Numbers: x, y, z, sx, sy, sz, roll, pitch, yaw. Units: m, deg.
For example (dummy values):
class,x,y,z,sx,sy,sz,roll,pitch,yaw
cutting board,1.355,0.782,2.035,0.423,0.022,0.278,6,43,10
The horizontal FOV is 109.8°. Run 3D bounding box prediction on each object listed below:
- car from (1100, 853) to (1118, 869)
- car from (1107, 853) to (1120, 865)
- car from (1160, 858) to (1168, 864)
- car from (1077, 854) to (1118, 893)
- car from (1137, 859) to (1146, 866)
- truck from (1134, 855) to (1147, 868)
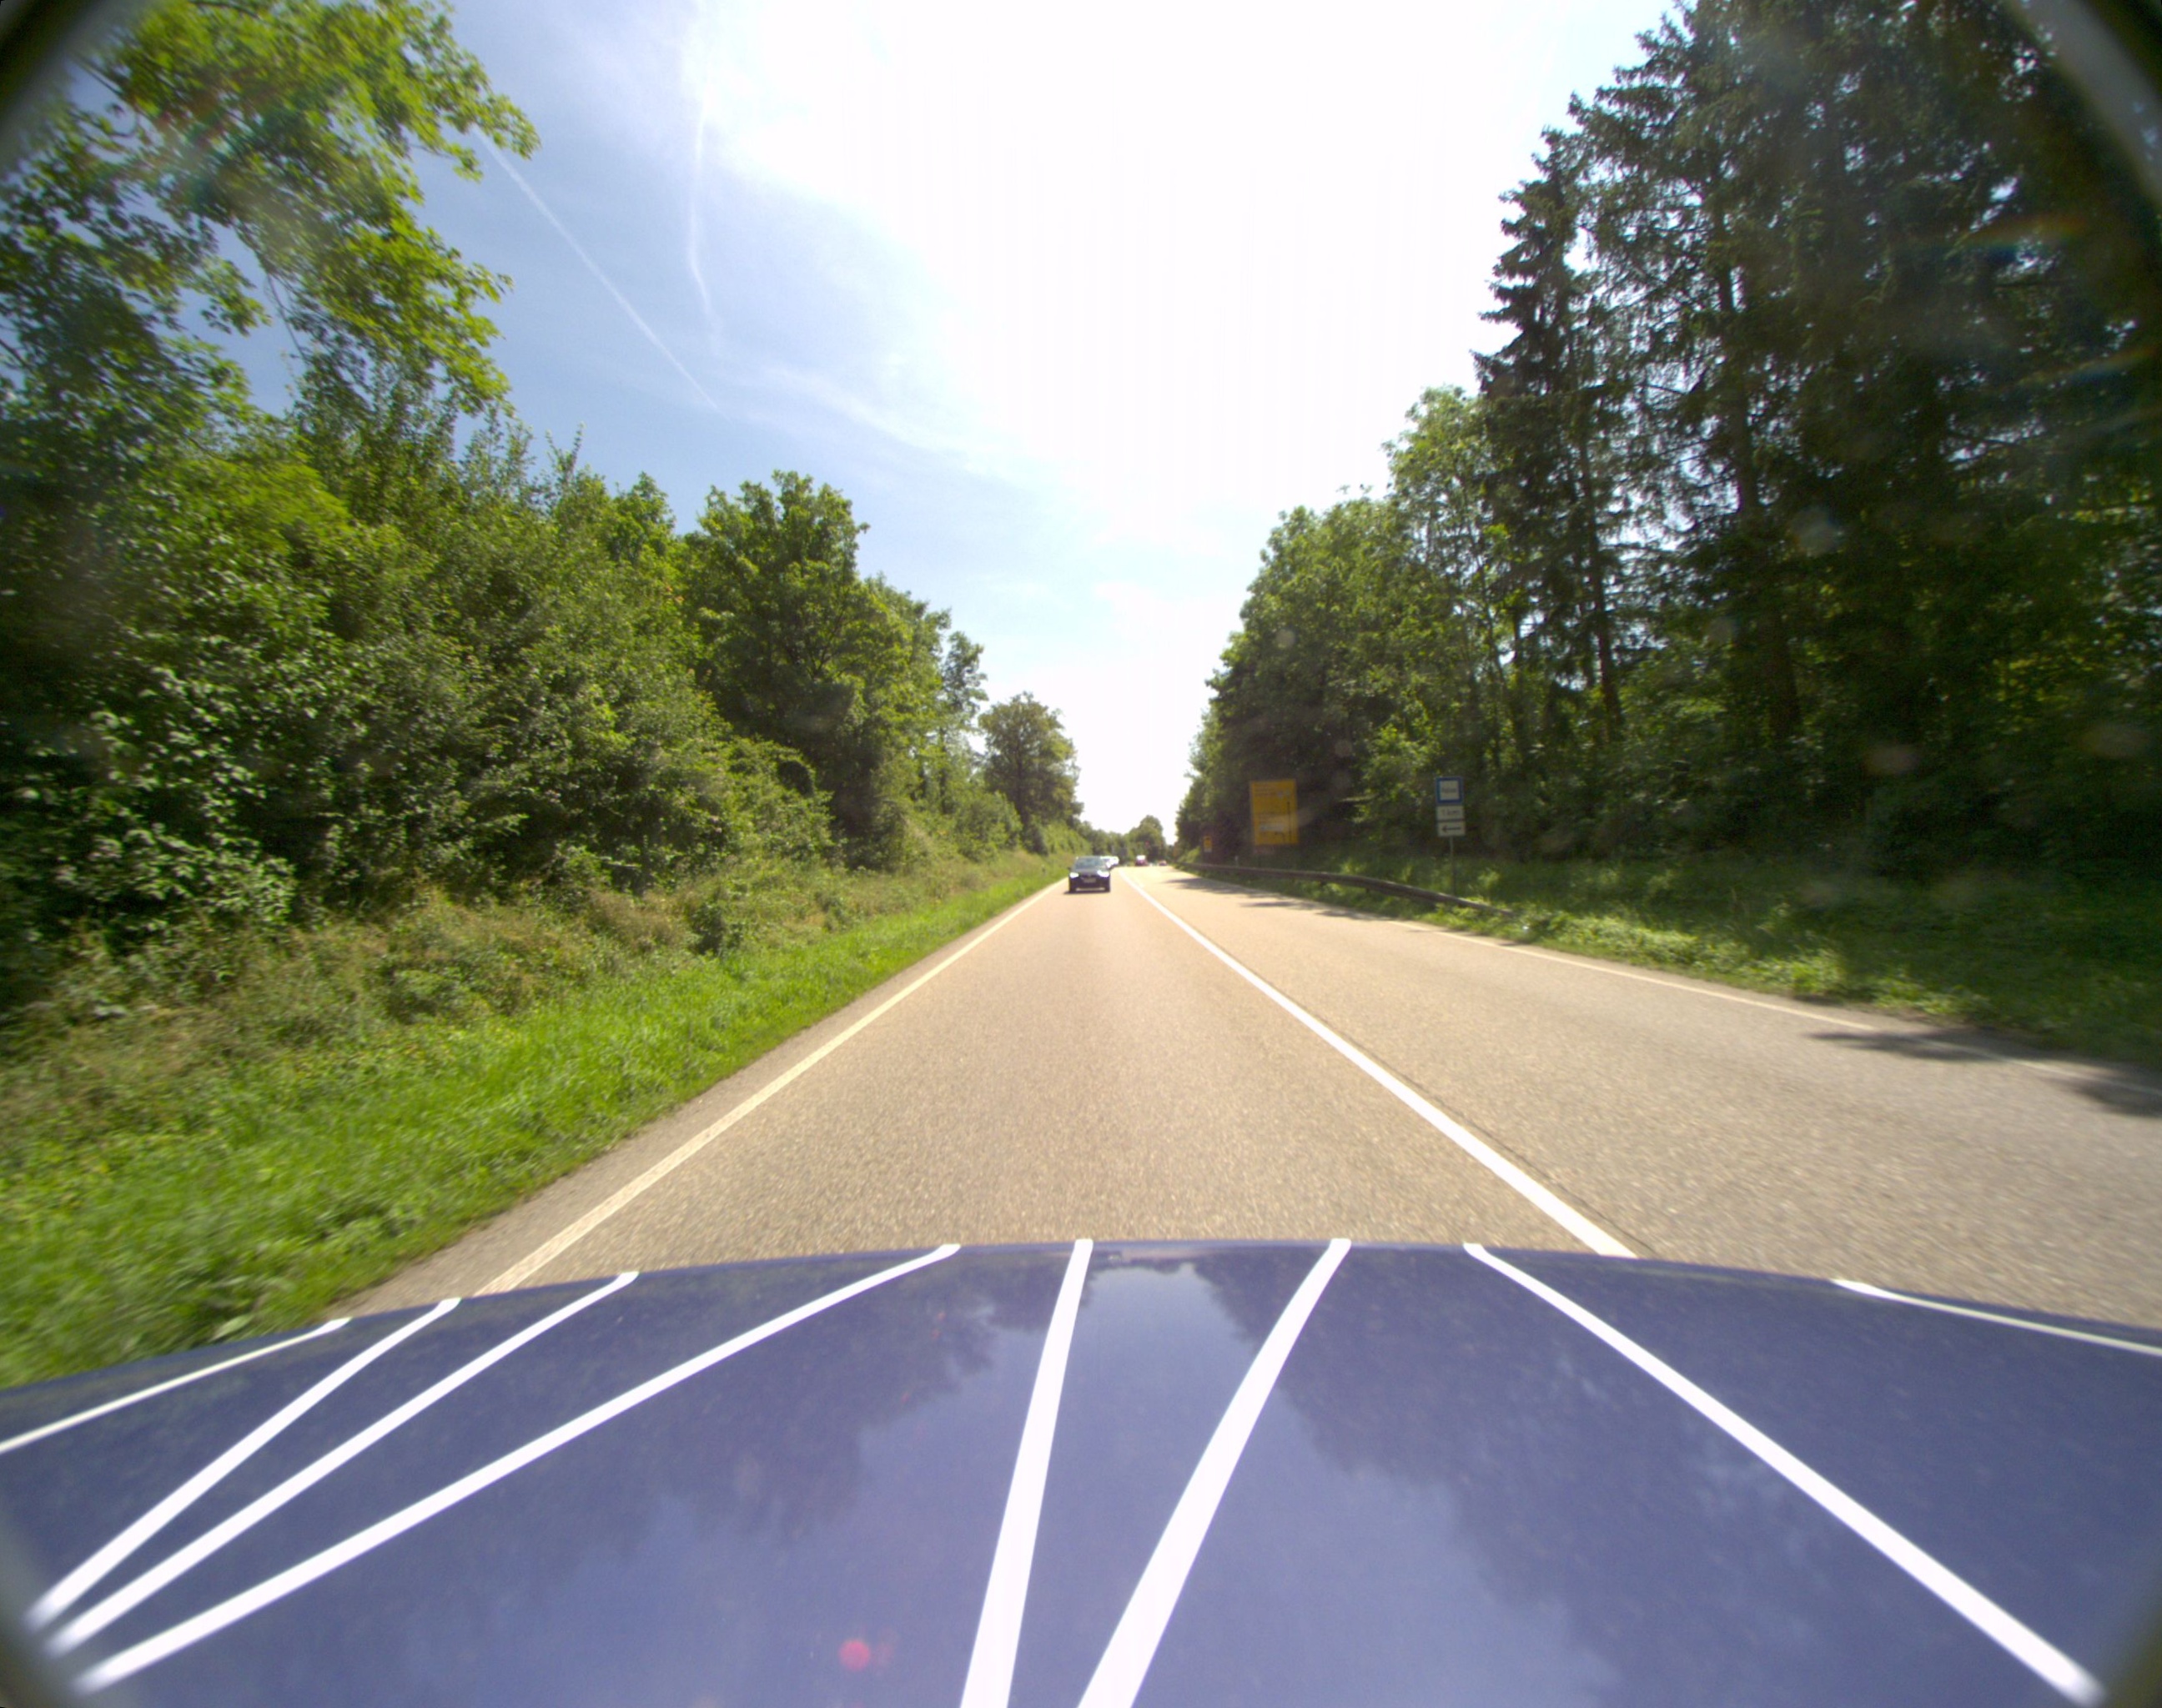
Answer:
class,x,y,z,sx,sy,sz,roll,pitch,yaw
car,3.089,0.799,83.579,1.770,1.673,4.001,-4,-1,1
car,5.668,0.876,133.517,1.998,2.001,4.002,-4,-1,5
car,21.114,1.836,193.781,1.810,1.427,3.873,-1,0,5
car,0.702,0.830,32.920,1.627,1.535,4.000,-2,-1,1
car,13.062,1.798,164.309,1.808,1.444,4.389,-2,-1,7
truck,18.014,2.264,228.999,2.838,3.794,8.456,-4,0,10
